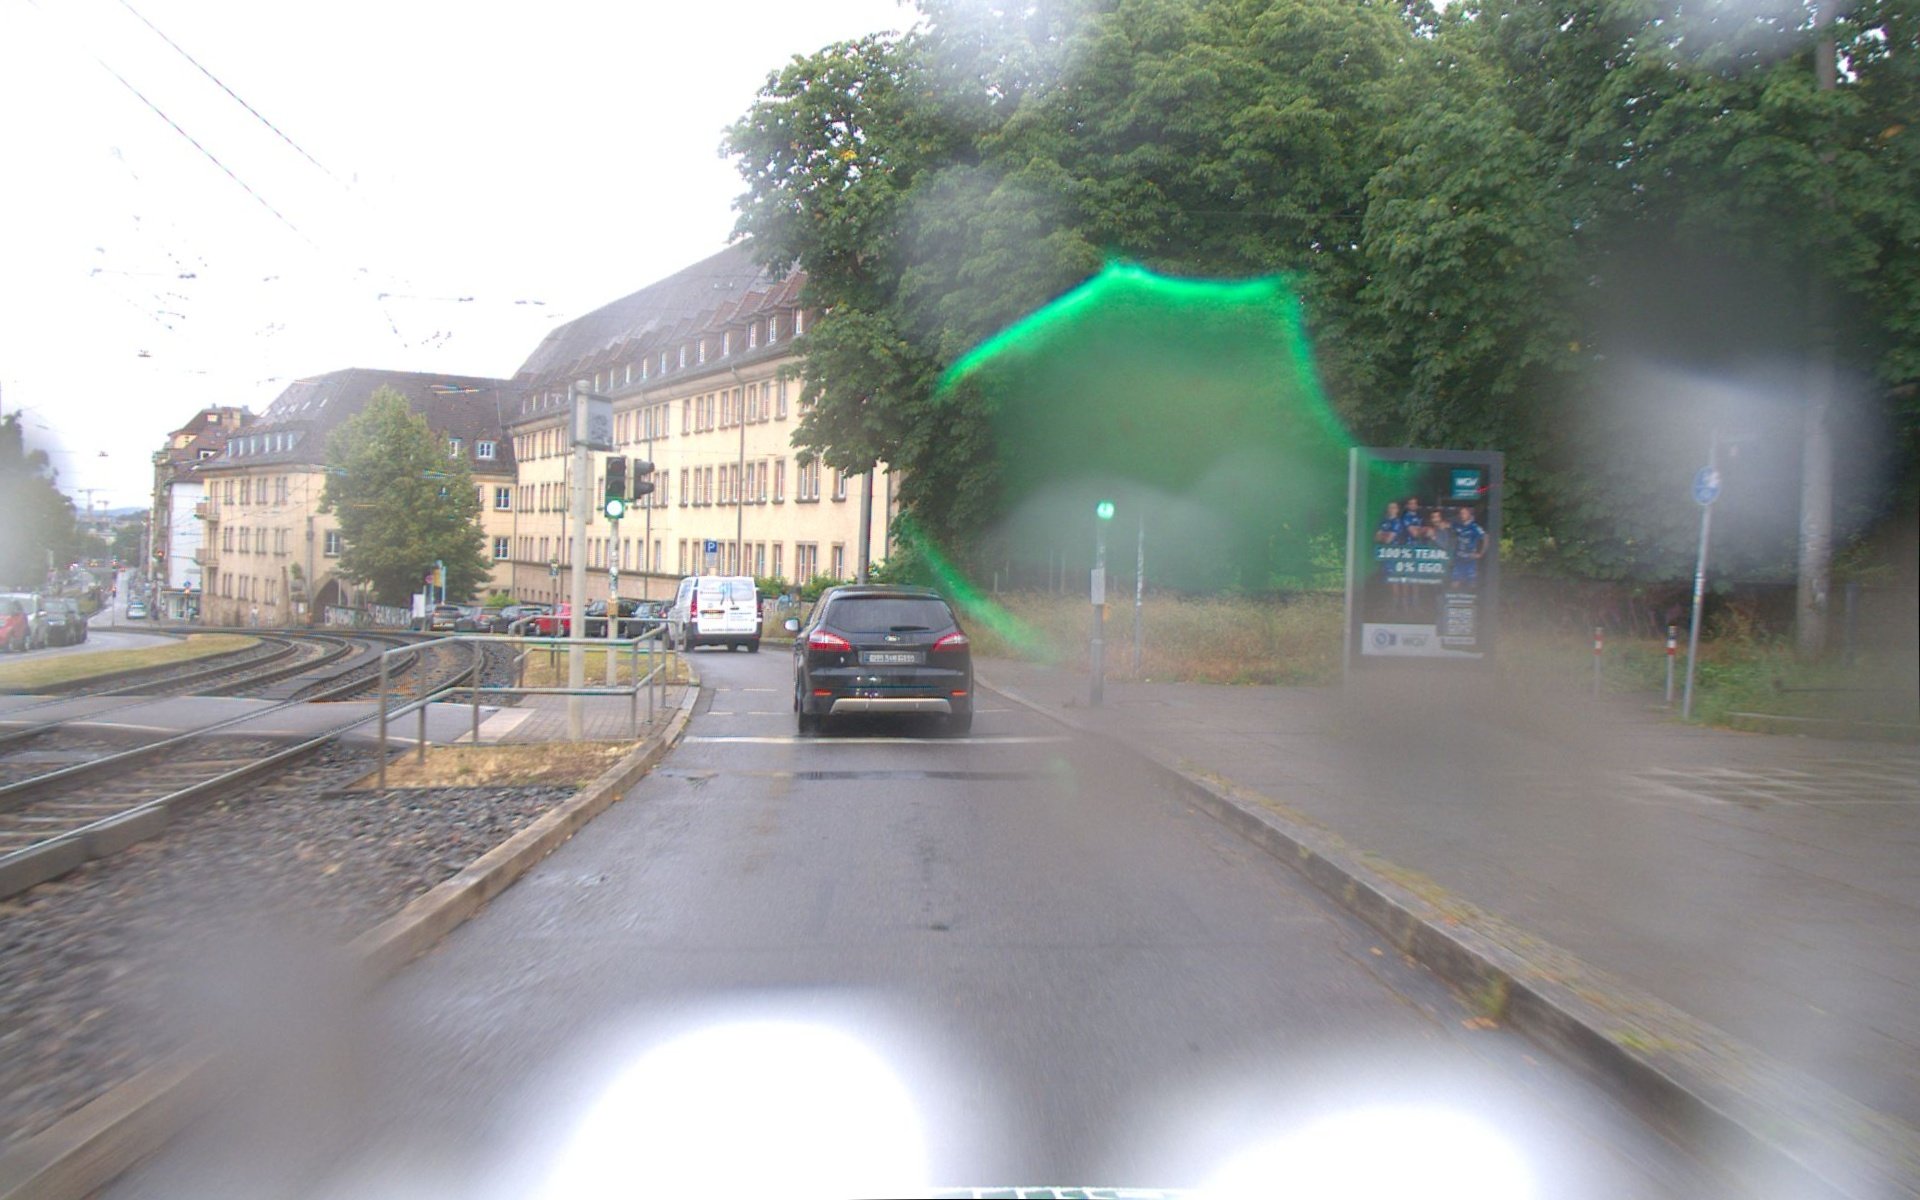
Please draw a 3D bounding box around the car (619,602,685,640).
[{"bbox_3d":[-12.353,0.818,66.231,1.519,1.441,3.608,-1,0,-29],"label":"car"}]

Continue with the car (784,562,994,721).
[{"bbox_3d":[-0.881,0.384,17.851,1.884,1.505,3.993,0,0,-8],"label":"car"}]

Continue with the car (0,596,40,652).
[{"bbox_3d":[-27.681,0.671,47.584,1.446,1.558,2.917,2,-1,-17],"label":"car"}]

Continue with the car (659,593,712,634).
[{"bbox_3d":[-10.427,0.504,62.759,1.573,1.491,2.706,-1,0,-18],"label":"car"}]

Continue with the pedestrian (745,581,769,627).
[{"bbox_3d":[-7.998,0.162,65.061,0.709,1.785,0.733,-1,0,-26],"label":"pedestrian"}]

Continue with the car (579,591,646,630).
[{"bbox_3d":[-14.943,0.453,71.010,1.649,1.600,3.815,-1,0,-31],"label":"car"}]

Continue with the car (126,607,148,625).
[{"bbox_3d":[-84.439,1.674,169.746,1.969,1.803,3.966,0,-1,-26],"label":"car"}]

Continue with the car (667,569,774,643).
[{"bbox_3d":[-6.196,0.139,42.335,2.103,1.776,4.198,0,0,-17],"label":"car"}]

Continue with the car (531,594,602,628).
[{"bbox_3d":[-18.046,0.526,75.724,1.654,1.502,4.010,1,-1,-38],"label":"car"}]

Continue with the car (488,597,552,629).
[{"bbox_3d":[-21.306,0.631,79.986,1.651,1.502,4.404,-1,0,-34],"label":"car"}]

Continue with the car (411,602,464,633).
[{"bbox_3d":[-28.316,0.942,89.496,1.651,1.551,4.060,-1,0,-34],"label":"car"}]

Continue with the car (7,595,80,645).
[{"bbox_3d":[-31.684,0.693,57.280,1.708,1.673,4.499,1,-1,-23],"label":"car"}]

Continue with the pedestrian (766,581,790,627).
[{"bbox_3d":[-7.201,0.154,65.447,0.709,1.785,0.733,-1,0,-26],"label":"pedestrian"}]

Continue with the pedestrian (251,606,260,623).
[{"bbox_3d":[-54.142,1.112,127.146,0.501,1.338,0.504,0,-1,-38],"label":"pedestrian"}]

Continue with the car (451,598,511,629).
[{"bbox_3d":[-24.558,0.705,84.770,1.653,1.502,4.055,-1,0,-37],"label":"car"}]
